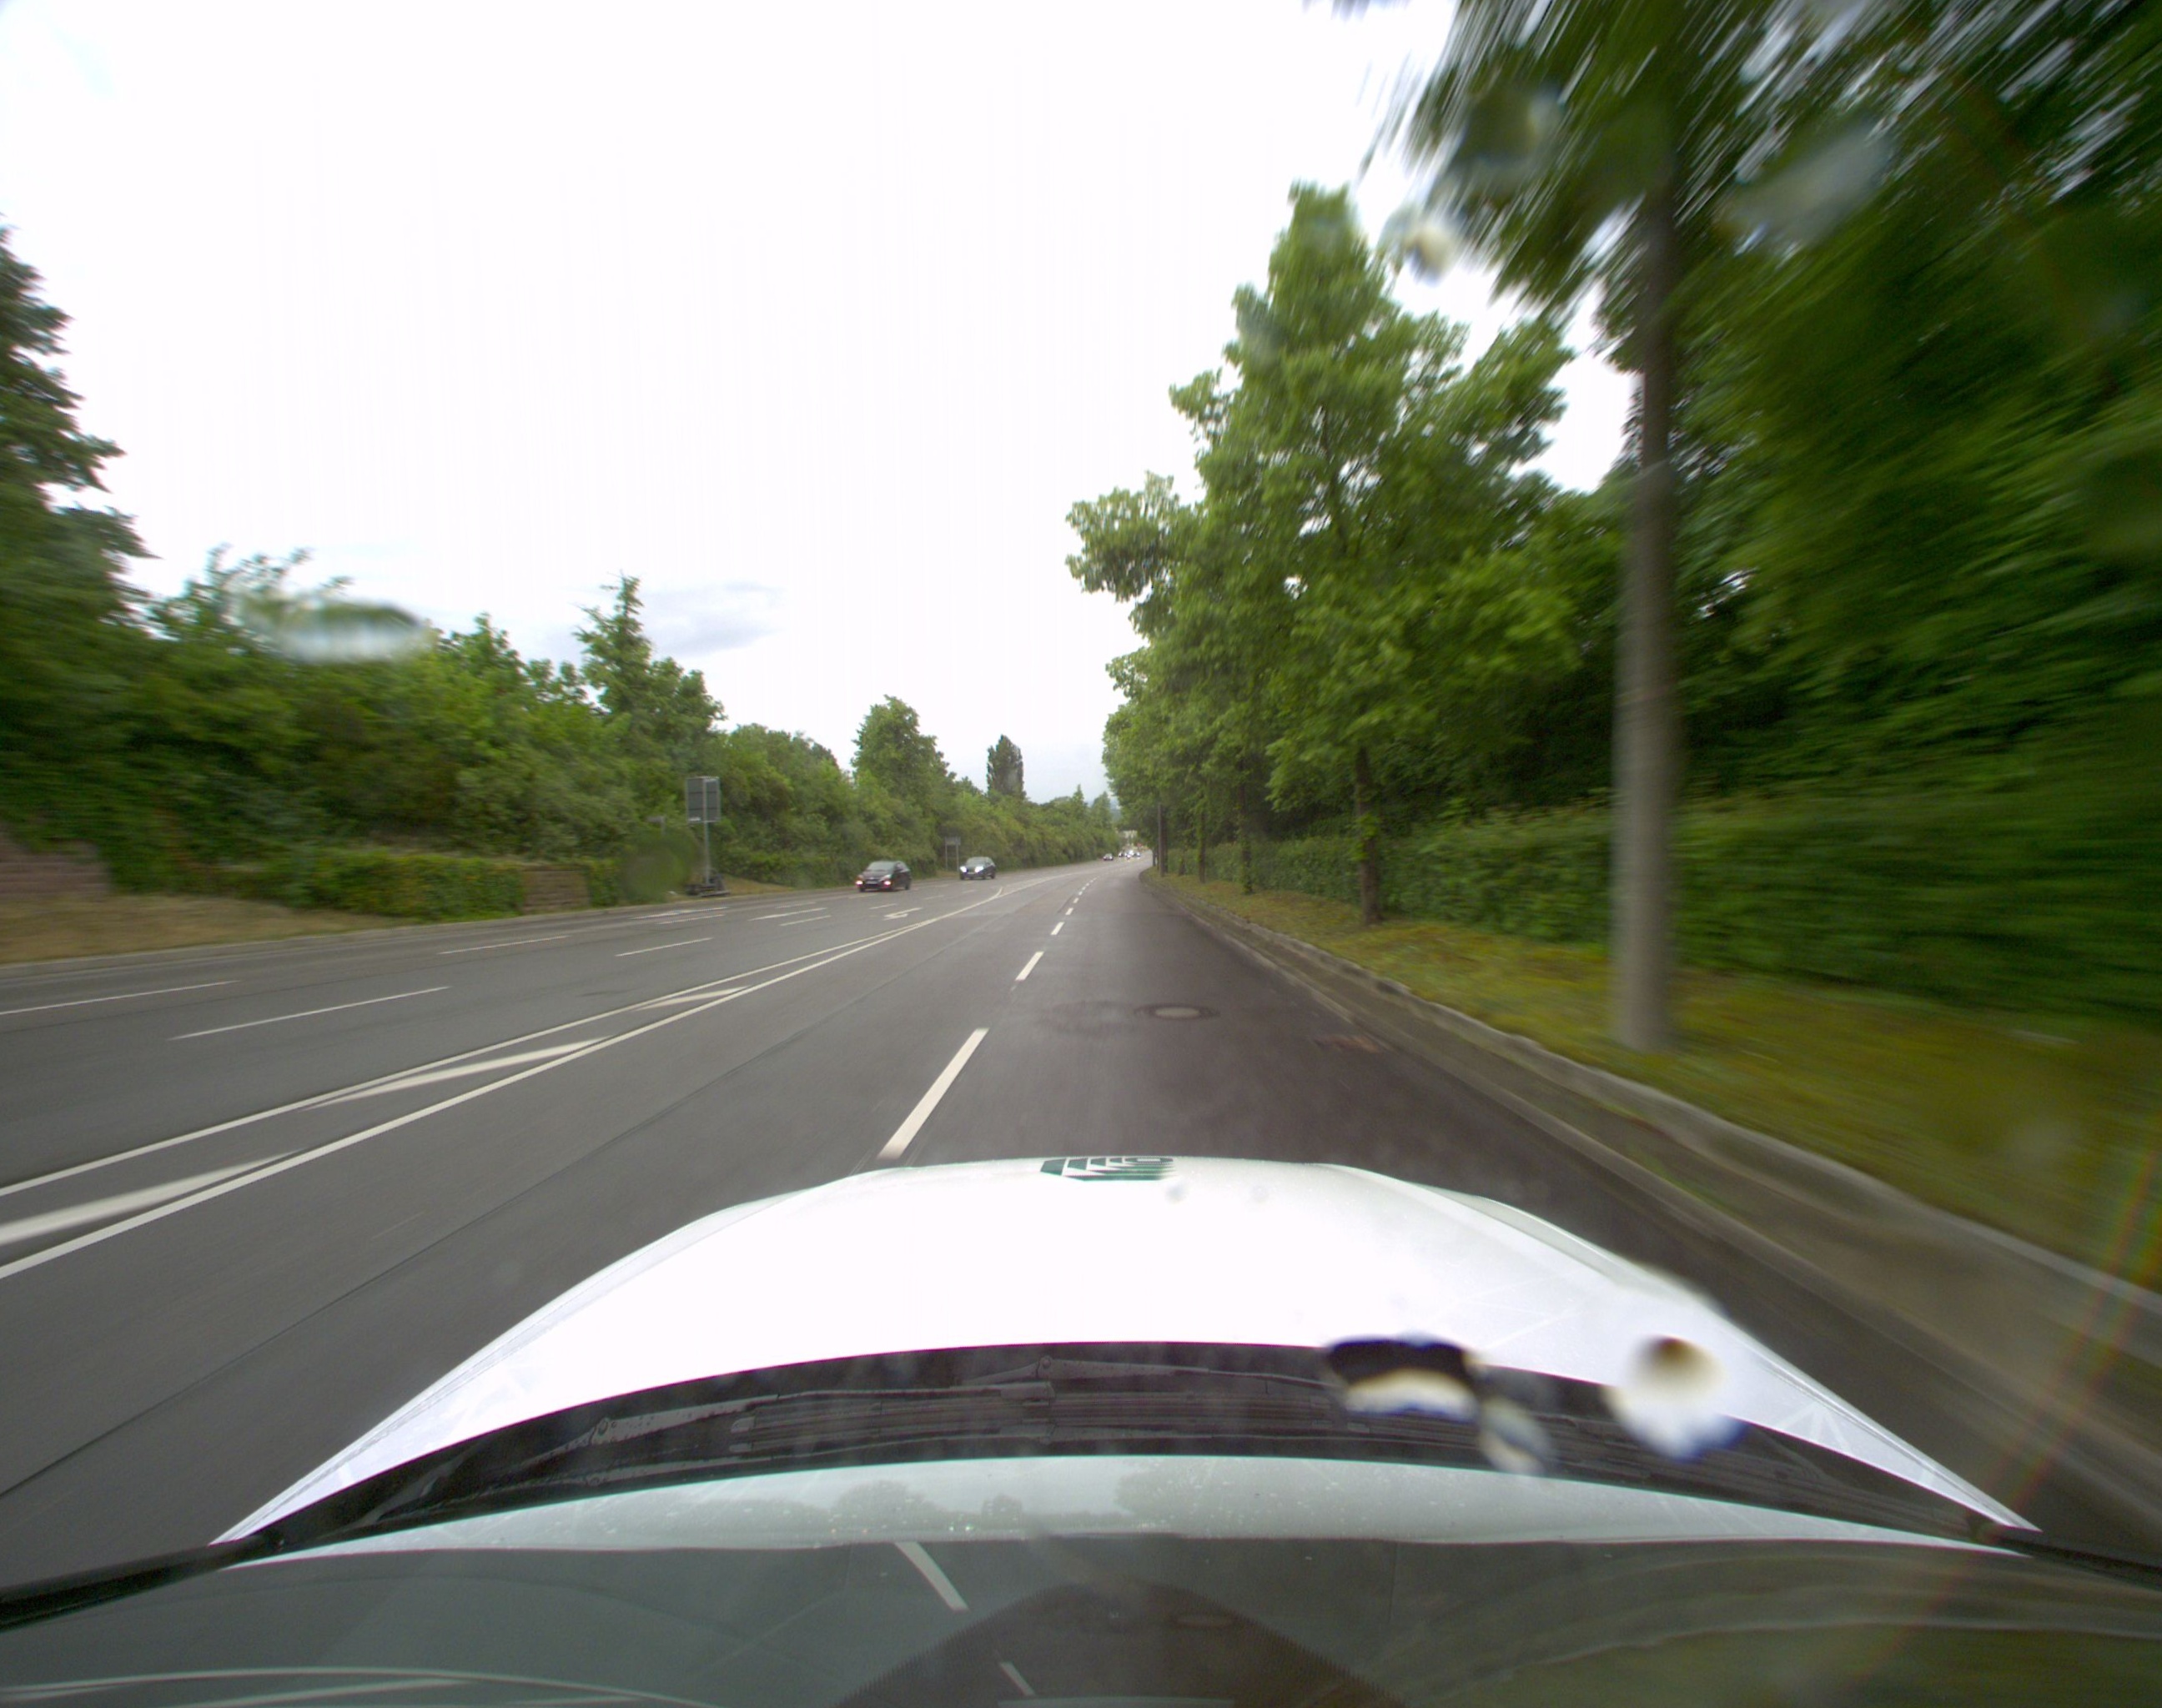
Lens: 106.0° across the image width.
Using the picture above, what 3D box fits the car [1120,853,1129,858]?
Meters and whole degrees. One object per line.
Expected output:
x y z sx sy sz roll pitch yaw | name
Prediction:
11.138 0.390 208.565 1.854 1.464 3.901 1 0 8 | car

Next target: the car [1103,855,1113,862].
5.347 0.865 162.026 1.856 1.464 3.897 1 0 4 | car

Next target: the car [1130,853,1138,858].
13.620 0.398 210.225 1.854 1.464 3.901 1 0 7 | car

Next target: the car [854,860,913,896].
-9.415 1.114 39.167 1.718 1.565 3.895 1 0 2 | car

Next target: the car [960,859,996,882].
-7.433 1.186 59.058 1.856 1.589 3.897 1 0 4 | car
